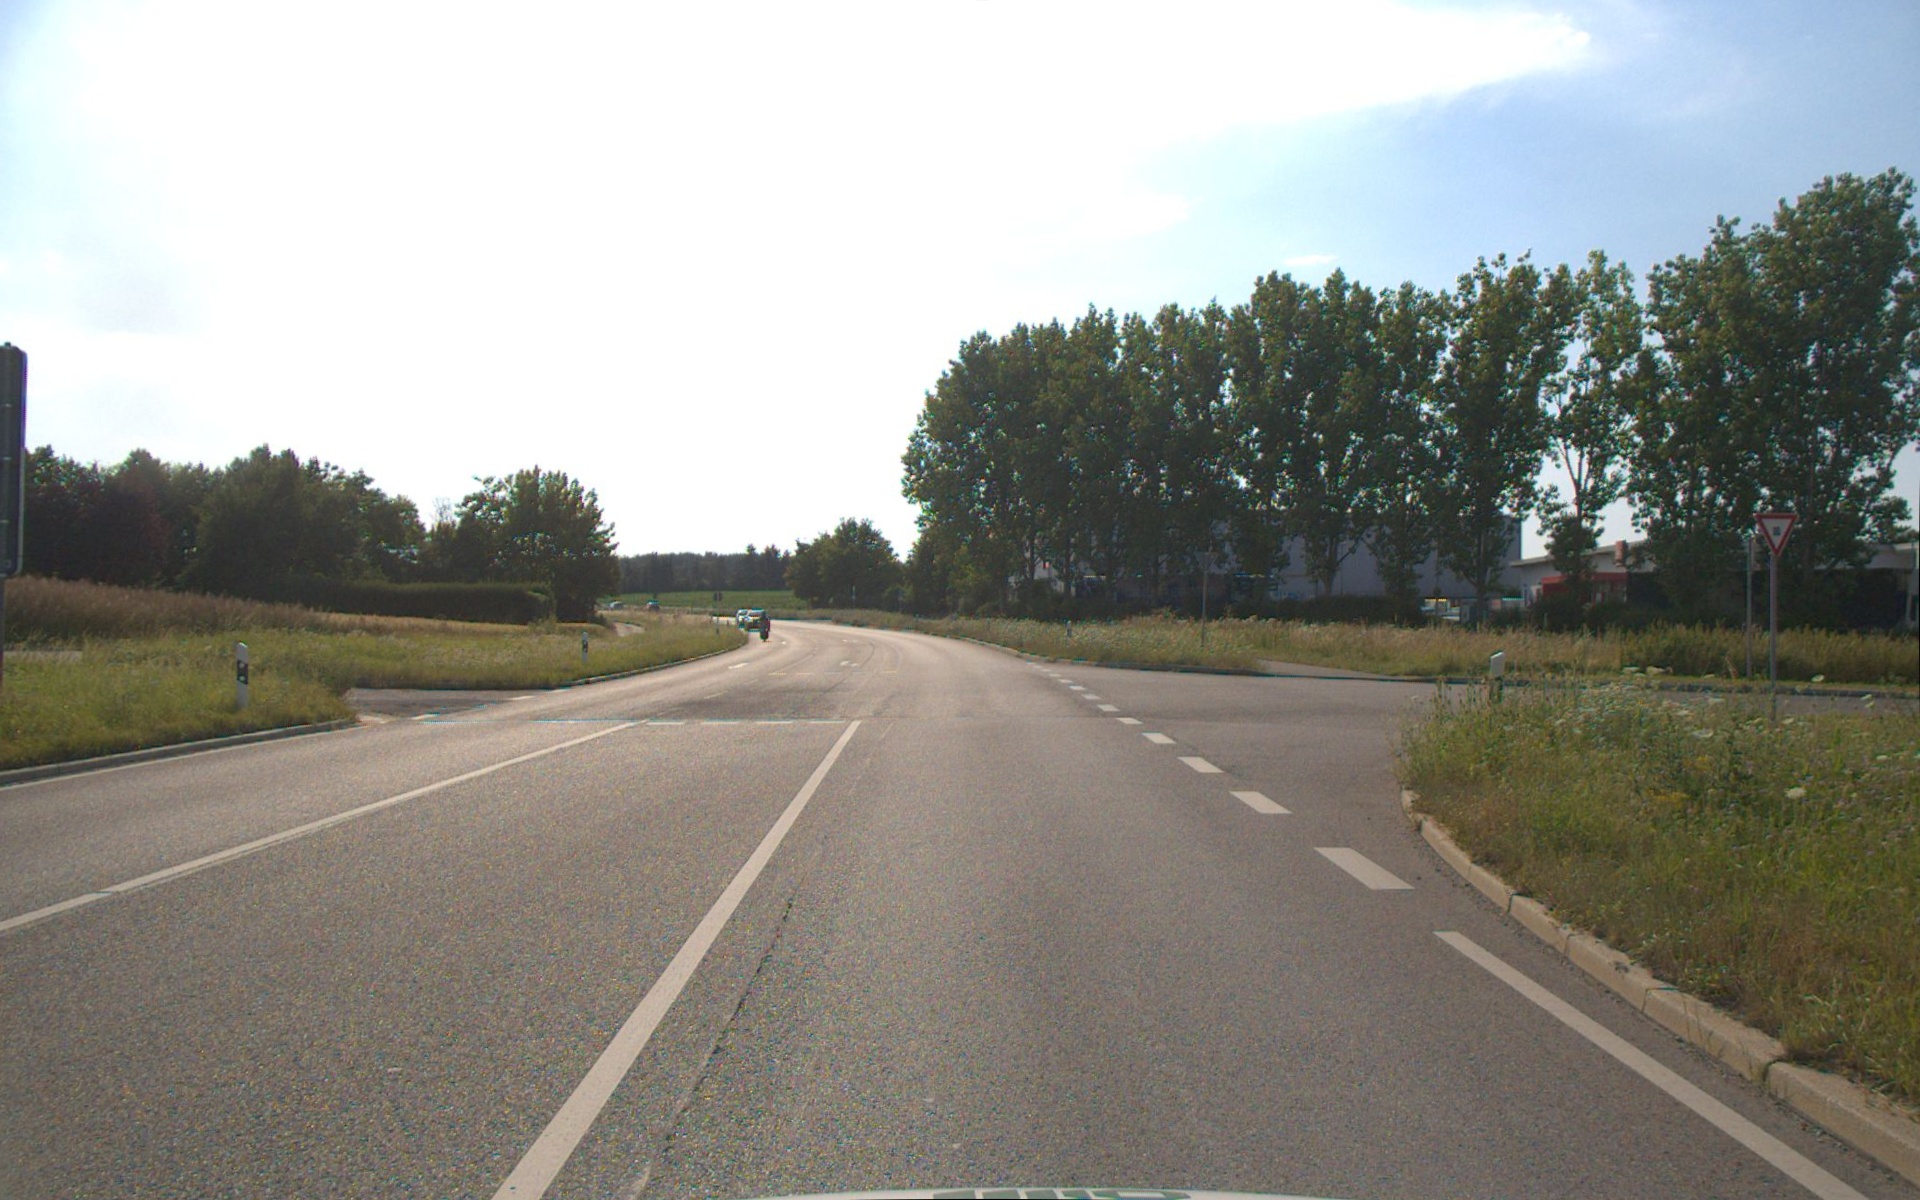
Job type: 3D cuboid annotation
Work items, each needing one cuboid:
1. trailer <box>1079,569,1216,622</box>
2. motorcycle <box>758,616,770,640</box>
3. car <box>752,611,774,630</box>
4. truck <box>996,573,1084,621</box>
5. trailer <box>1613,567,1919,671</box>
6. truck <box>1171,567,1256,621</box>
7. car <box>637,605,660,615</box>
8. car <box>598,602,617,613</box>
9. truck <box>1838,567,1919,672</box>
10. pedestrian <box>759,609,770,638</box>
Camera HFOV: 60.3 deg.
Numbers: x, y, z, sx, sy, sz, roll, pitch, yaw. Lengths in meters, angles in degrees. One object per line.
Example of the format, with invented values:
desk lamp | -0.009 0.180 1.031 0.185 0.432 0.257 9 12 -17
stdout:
trailer | 12.897 -0.211 115.755 2.652 3.197 13.151 4 -3 -27
motorcycle | -10.760 1.534 90.922 0.574 1.283 2.118 3 -1 -6
car | -14.890 1.558 125.173 1.652 1.372 3.994 0 0 -6
truck | 6.085 -0.220 127.438 2.479 3.435 9.608 3 -2 -25
trailer | 34.225 0.798 71.114 2.214 3.984 13.615 3 -2 -24
truck | 16.585 -0.348 108.538 2.590 3.217 5.658 4 -3 -27
car | -40.454 1.344 214.803 1.944 1.171 3.835 4 -2 -26
car | -49.409 1.113 231.743 1.828 1.432 3.614 4 -2 -26
truck | 37.390 0.782 64.543 2.220 3.984 5.067 4 -2 -30
pedestrian | -10.756 1.295 90.957 0.555 1.531 0.864 2 -1 -5
